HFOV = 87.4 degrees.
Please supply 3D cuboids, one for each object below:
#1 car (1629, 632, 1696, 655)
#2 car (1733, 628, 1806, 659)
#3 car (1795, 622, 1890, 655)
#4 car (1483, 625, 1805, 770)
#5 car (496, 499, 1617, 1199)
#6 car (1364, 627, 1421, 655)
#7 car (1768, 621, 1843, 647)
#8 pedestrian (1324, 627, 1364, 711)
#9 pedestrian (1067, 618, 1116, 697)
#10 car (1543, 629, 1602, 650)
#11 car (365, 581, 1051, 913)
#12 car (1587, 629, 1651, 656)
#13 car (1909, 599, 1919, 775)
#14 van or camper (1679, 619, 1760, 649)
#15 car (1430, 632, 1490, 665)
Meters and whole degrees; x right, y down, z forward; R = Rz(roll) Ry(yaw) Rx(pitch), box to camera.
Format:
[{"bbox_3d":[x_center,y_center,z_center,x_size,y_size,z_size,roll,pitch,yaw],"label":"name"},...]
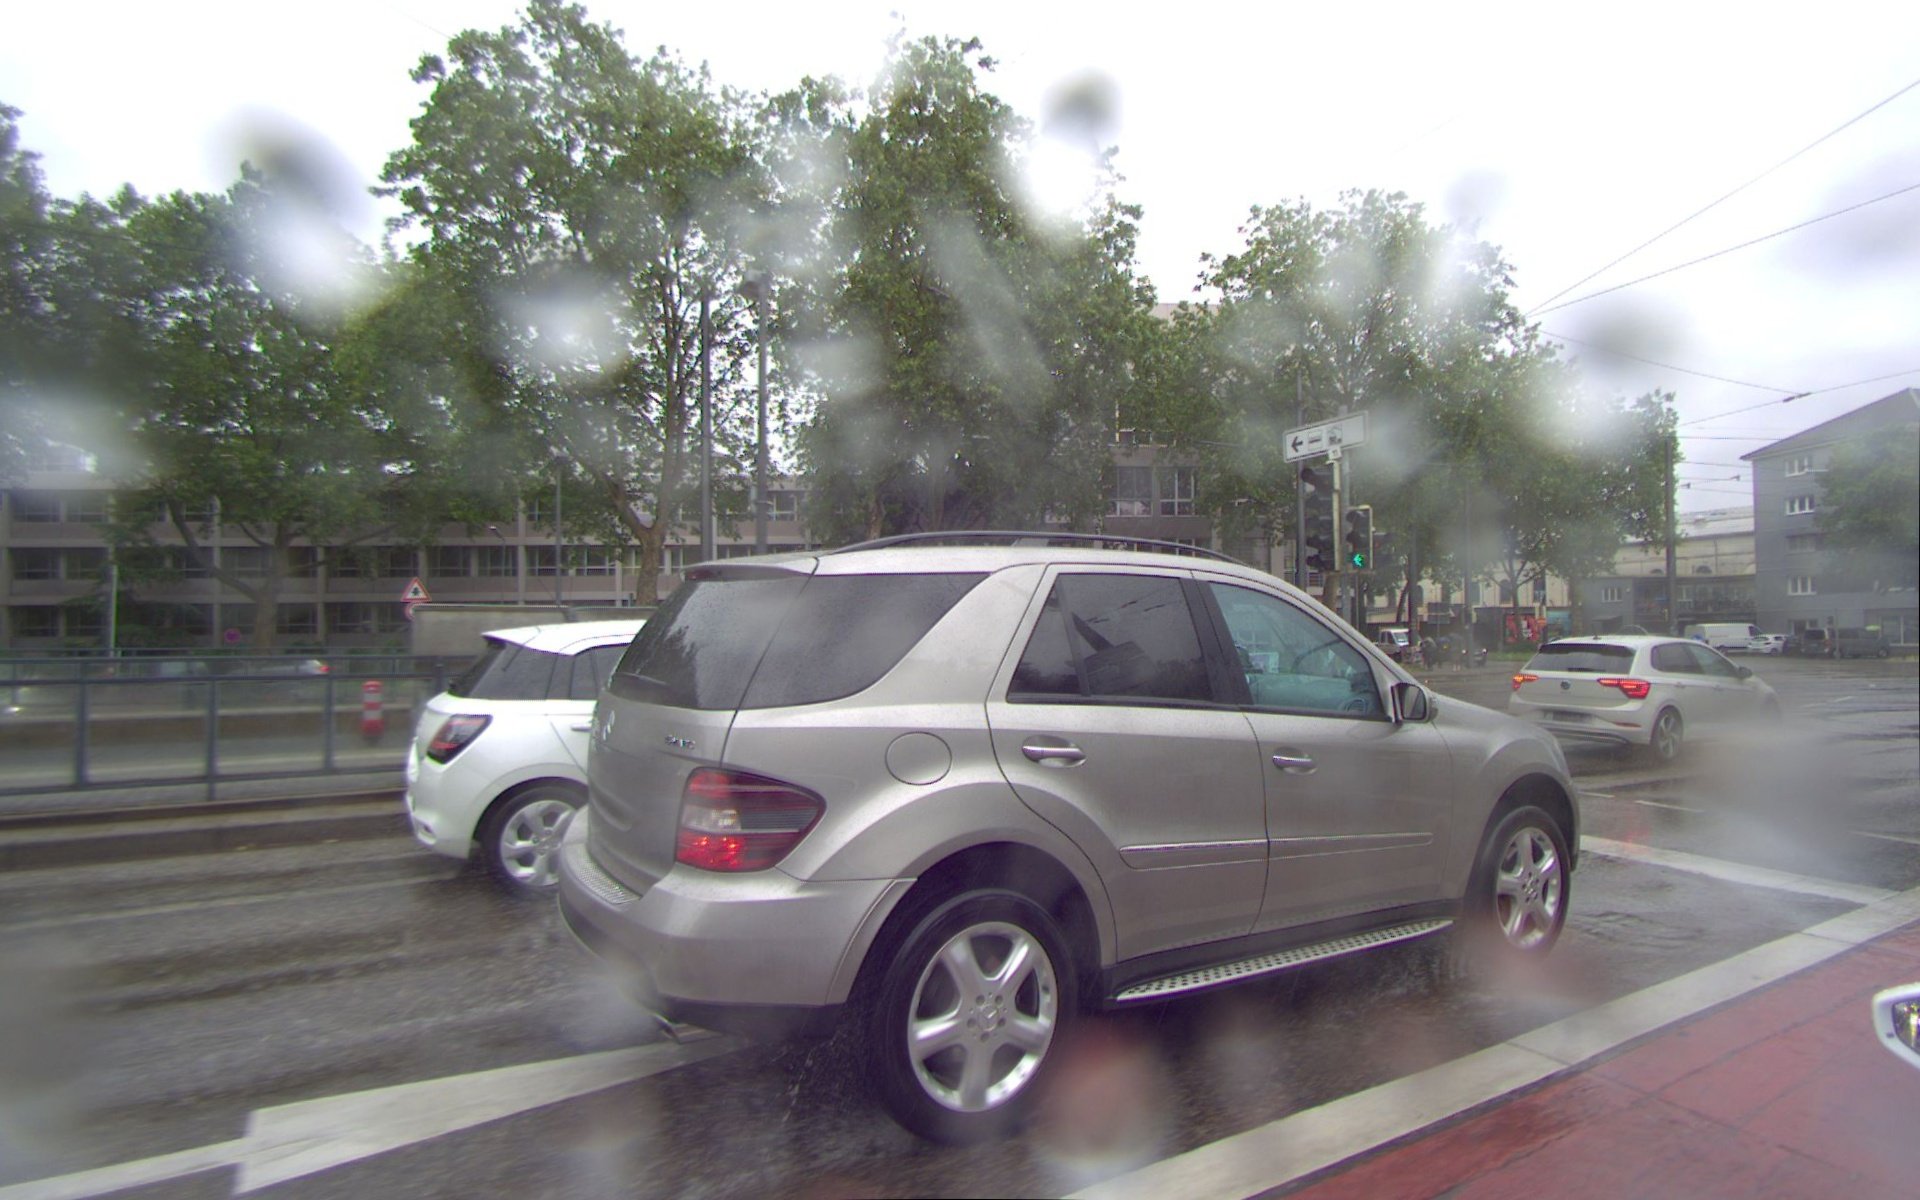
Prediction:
[{"bbox_3d":[54.283,3.347,77.647,3.925,1.635,1.999,2,-2,-6],"label":"car"},{"bbox_3d":[56.114,2.980,69.666,3.932,2.040,1.995,0,-1,-14],"label":"car"},{"bbox_3d":[56.512,2.425,64.405,4.311,2.040,2.067,0,0,-1],"label":"car"},{"bbox_3d":[8.790,1.121,12.848,4.141,1.557,1.798,0,-2,-30],"label":"car"},{"bbox_3d":[0.636,0.621,4.322,4.627,1.668,1.898,0,0,-31],"label":"car"},{"bbox_3d":[29.494,2.765,68.612,1.967,1.795,3.998,0,-1,-4],"label":"car"},{"bbox_3d":[56.878,2.277,67.591,3.932,1.639,1.922,0,-1,-14],"label":"car"},{"bbox_3d":[7.607,1.354,19.909,0.721,1.631,0.718,-1,-1,21],"label":"pedestrian"},{"bbox_3d":[2.959,1.277,22.565,0.931,1.734,0.830,-1,-1,21],"label":"pedestrian"},{"bbox_3d":[54.086,3.493,88.719,3.921,1.787,2.000,-1,-2,0],"label":"car"},{"bbox_3d":[-1.561,0.735,6.653,4.024,1.608,1.794,0,-1,-29],"label":"car"},{"bbox_3d":[53.792,3.448,82.042,3.922,2.040,2.000,2,0,-1],"label":"car"},{"bbox_3d":[11.650,0.852,10.197,4.139,1.732,1.794,0,0,-29],"label":"car"},{"bbox_3d":[54.706,2.444,72.356,4.569,2.102,1.998,1,-1,-8],"label":"van or camper"},{"bbox_3d":[30.511,2.937,61.412,1.767,1.795,4.001,-2,-1,2],"label":"car"}]
